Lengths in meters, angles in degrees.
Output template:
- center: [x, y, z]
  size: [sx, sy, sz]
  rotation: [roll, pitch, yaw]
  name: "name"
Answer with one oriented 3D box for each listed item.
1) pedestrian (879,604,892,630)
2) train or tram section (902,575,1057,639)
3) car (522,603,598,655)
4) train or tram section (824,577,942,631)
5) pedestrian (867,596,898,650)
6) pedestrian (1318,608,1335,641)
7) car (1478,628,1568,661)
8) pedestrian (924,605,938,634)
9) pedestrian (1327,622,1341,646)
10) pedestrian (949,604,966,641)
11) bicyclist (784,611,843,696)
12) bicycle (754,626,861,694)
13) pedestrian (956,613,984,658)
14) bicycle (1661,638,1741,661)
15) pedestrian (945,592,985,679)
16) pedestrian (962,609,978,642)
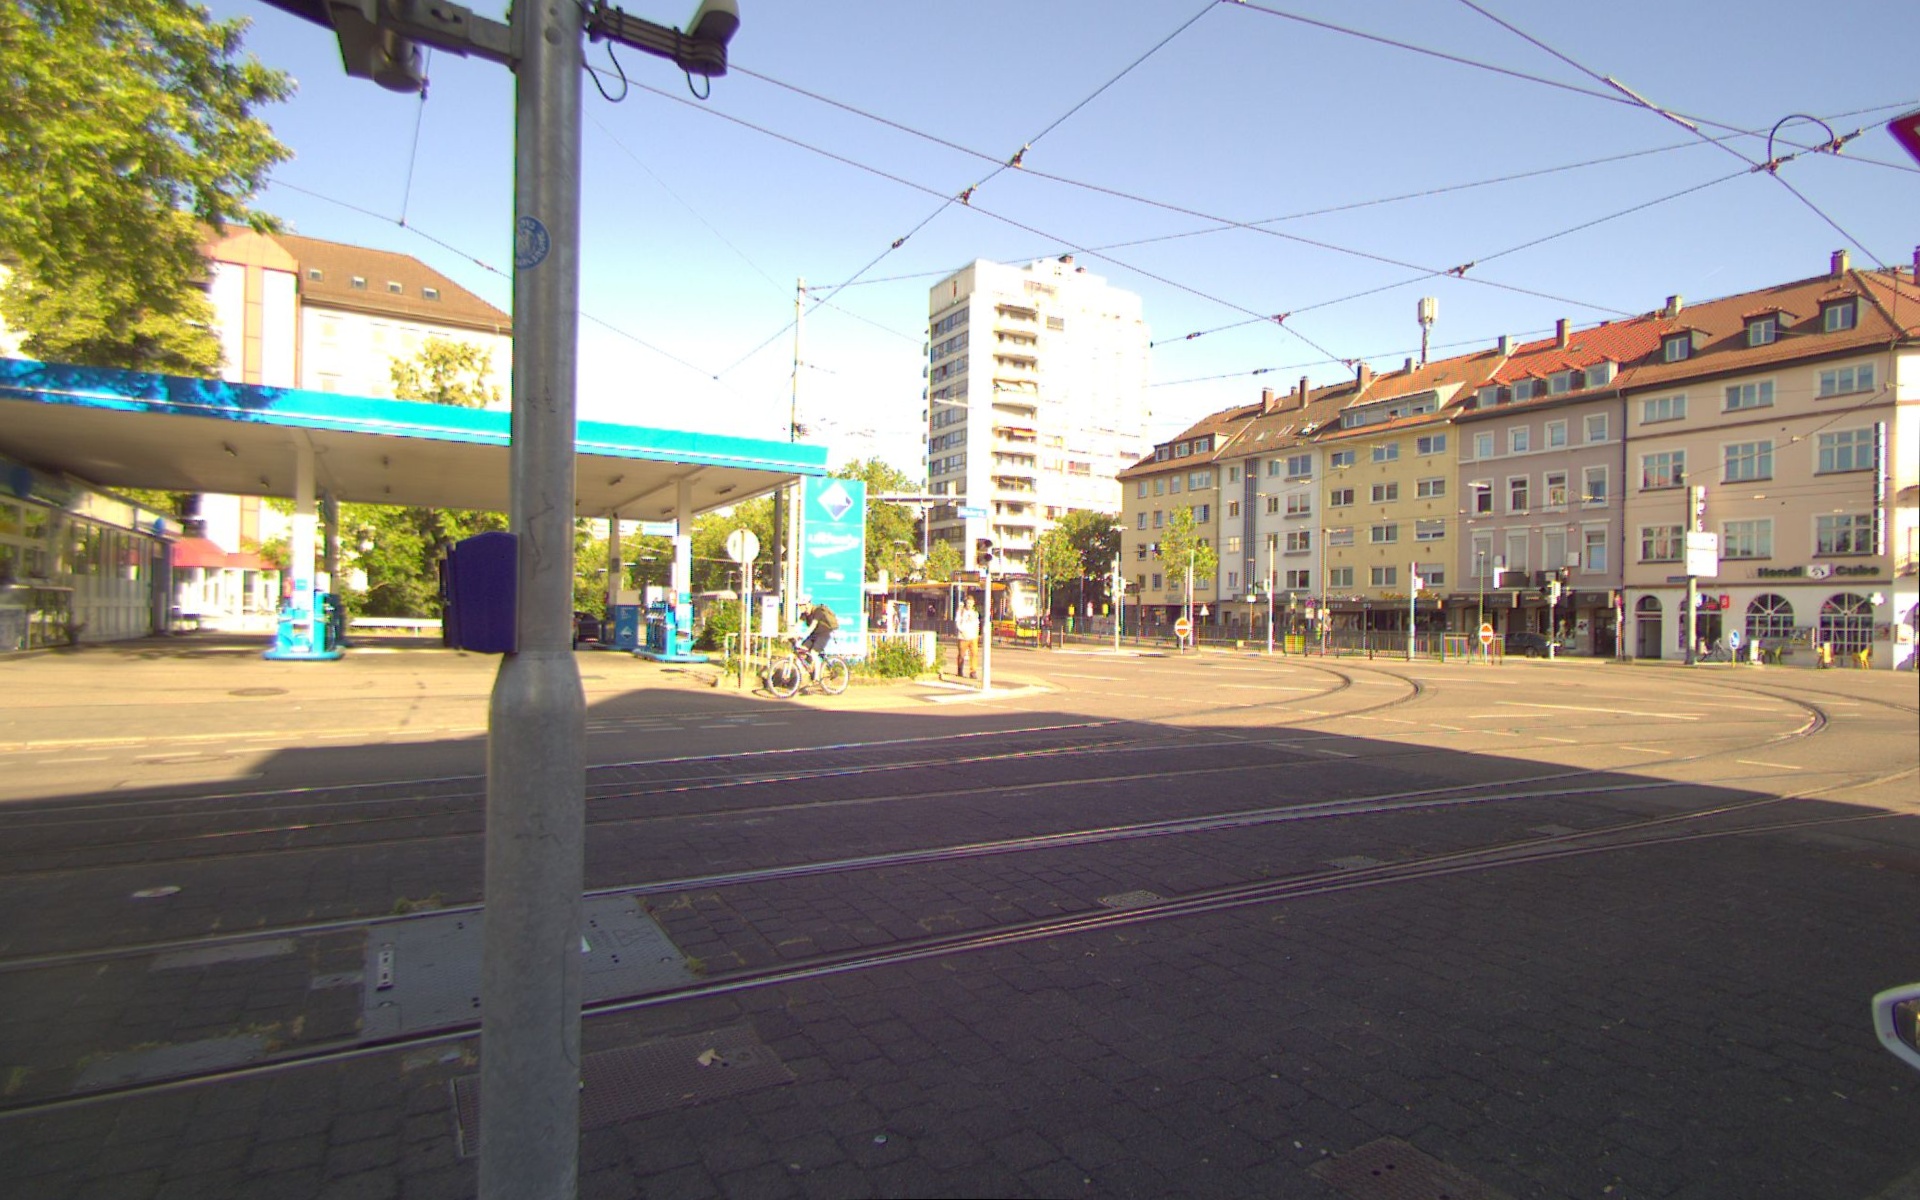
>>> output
- center: [-4.566, 1.050, 61.654]
  size: [0.580, 1.613, 0.520]
  rotation: [2, 0, -31]
  name: "pedestrian"
- center: [0.775, 0.338, 57.488]
  size: [2.751, 3.273, 12.286]
  rotation: [2, 0, -31]
  name: "train or tram section"
- center: [-12.069, 0.838, 30.208]
  size: [1.764, 1.411, 3.455]
  rotation: [2, 0, -28]
  name: "car"
- center: [-5.485, 0.205, 67.995]
  size: [2.751, 3.273, 12.286]
  rotation: [2, 0, -31]
  name: "train or tram section"
- center: [-2.414, 0.702, 31.158]
  size: [0.675, 1.656, 0.694]
  rotation: [2, 0, -35]
  name: "pedestrian"
- center: [18.914, 1.274, 51.851]
  size: [0.570, 1.649, 0.522]
  rotation: [2, 0, -31]
  name: "pedestrian"
- center: [30.857, 2.423, 55.141]
  size: [1.970, 1.692, 3.981]
  rotation: [1, -1, -21]
  name: "car"
- center: [-1.623, 1.069, 56.086]
  size: [0.580, 1.613, 0.520]
  rotation: [2, 0, -31]
  name: "pedestrian"
- center: [26.202, 2.405, 70.419]
  size: [0.693, 1.656, 0.629]
  rotation: [2, 0, -33]
  name: "pedestrian"
- center: [-0.150, 1.151, 52.224]
  size: [0.666, 1.913, 0.520]
  rotation: [2, 0, -31]
  name: "pedestrian"
- center: [-2.489, 0.897, 17.055]
  size: [0.797, 1.384, 0.553]
  rotation: [2, 0, -44]
  name: "bicyclist"
- center: [-2.570, 0.998, 17.028]
  size: [1.782, 1.084, 0.567]
  rotation: [2, 0, -44]
  name: "bicycle"
- center: [0.373, 1.278, 36.272]
  size: [0.692, 1.608, 0.822]
  rotation: [0, -1, 28]
  name: "pedestrian"
- center: [37.502, 2.497, 50.897]
  size: [0.989, 0.993, 3.115]
  rotation: [2, 0, -29]
  name: "bicycle"
- center: [0.117, 0.788, 22.563]
  size: [0.778, 1.893, 0.674]
  rotation: [2, 0, 6]
  name: "pedestrian"
- center: [0.487, 1.289, 50.995]
  size: [0.580, 1.613, 0.520]
  rotation: [2, 0, -31]
  name: "pedestrian"
